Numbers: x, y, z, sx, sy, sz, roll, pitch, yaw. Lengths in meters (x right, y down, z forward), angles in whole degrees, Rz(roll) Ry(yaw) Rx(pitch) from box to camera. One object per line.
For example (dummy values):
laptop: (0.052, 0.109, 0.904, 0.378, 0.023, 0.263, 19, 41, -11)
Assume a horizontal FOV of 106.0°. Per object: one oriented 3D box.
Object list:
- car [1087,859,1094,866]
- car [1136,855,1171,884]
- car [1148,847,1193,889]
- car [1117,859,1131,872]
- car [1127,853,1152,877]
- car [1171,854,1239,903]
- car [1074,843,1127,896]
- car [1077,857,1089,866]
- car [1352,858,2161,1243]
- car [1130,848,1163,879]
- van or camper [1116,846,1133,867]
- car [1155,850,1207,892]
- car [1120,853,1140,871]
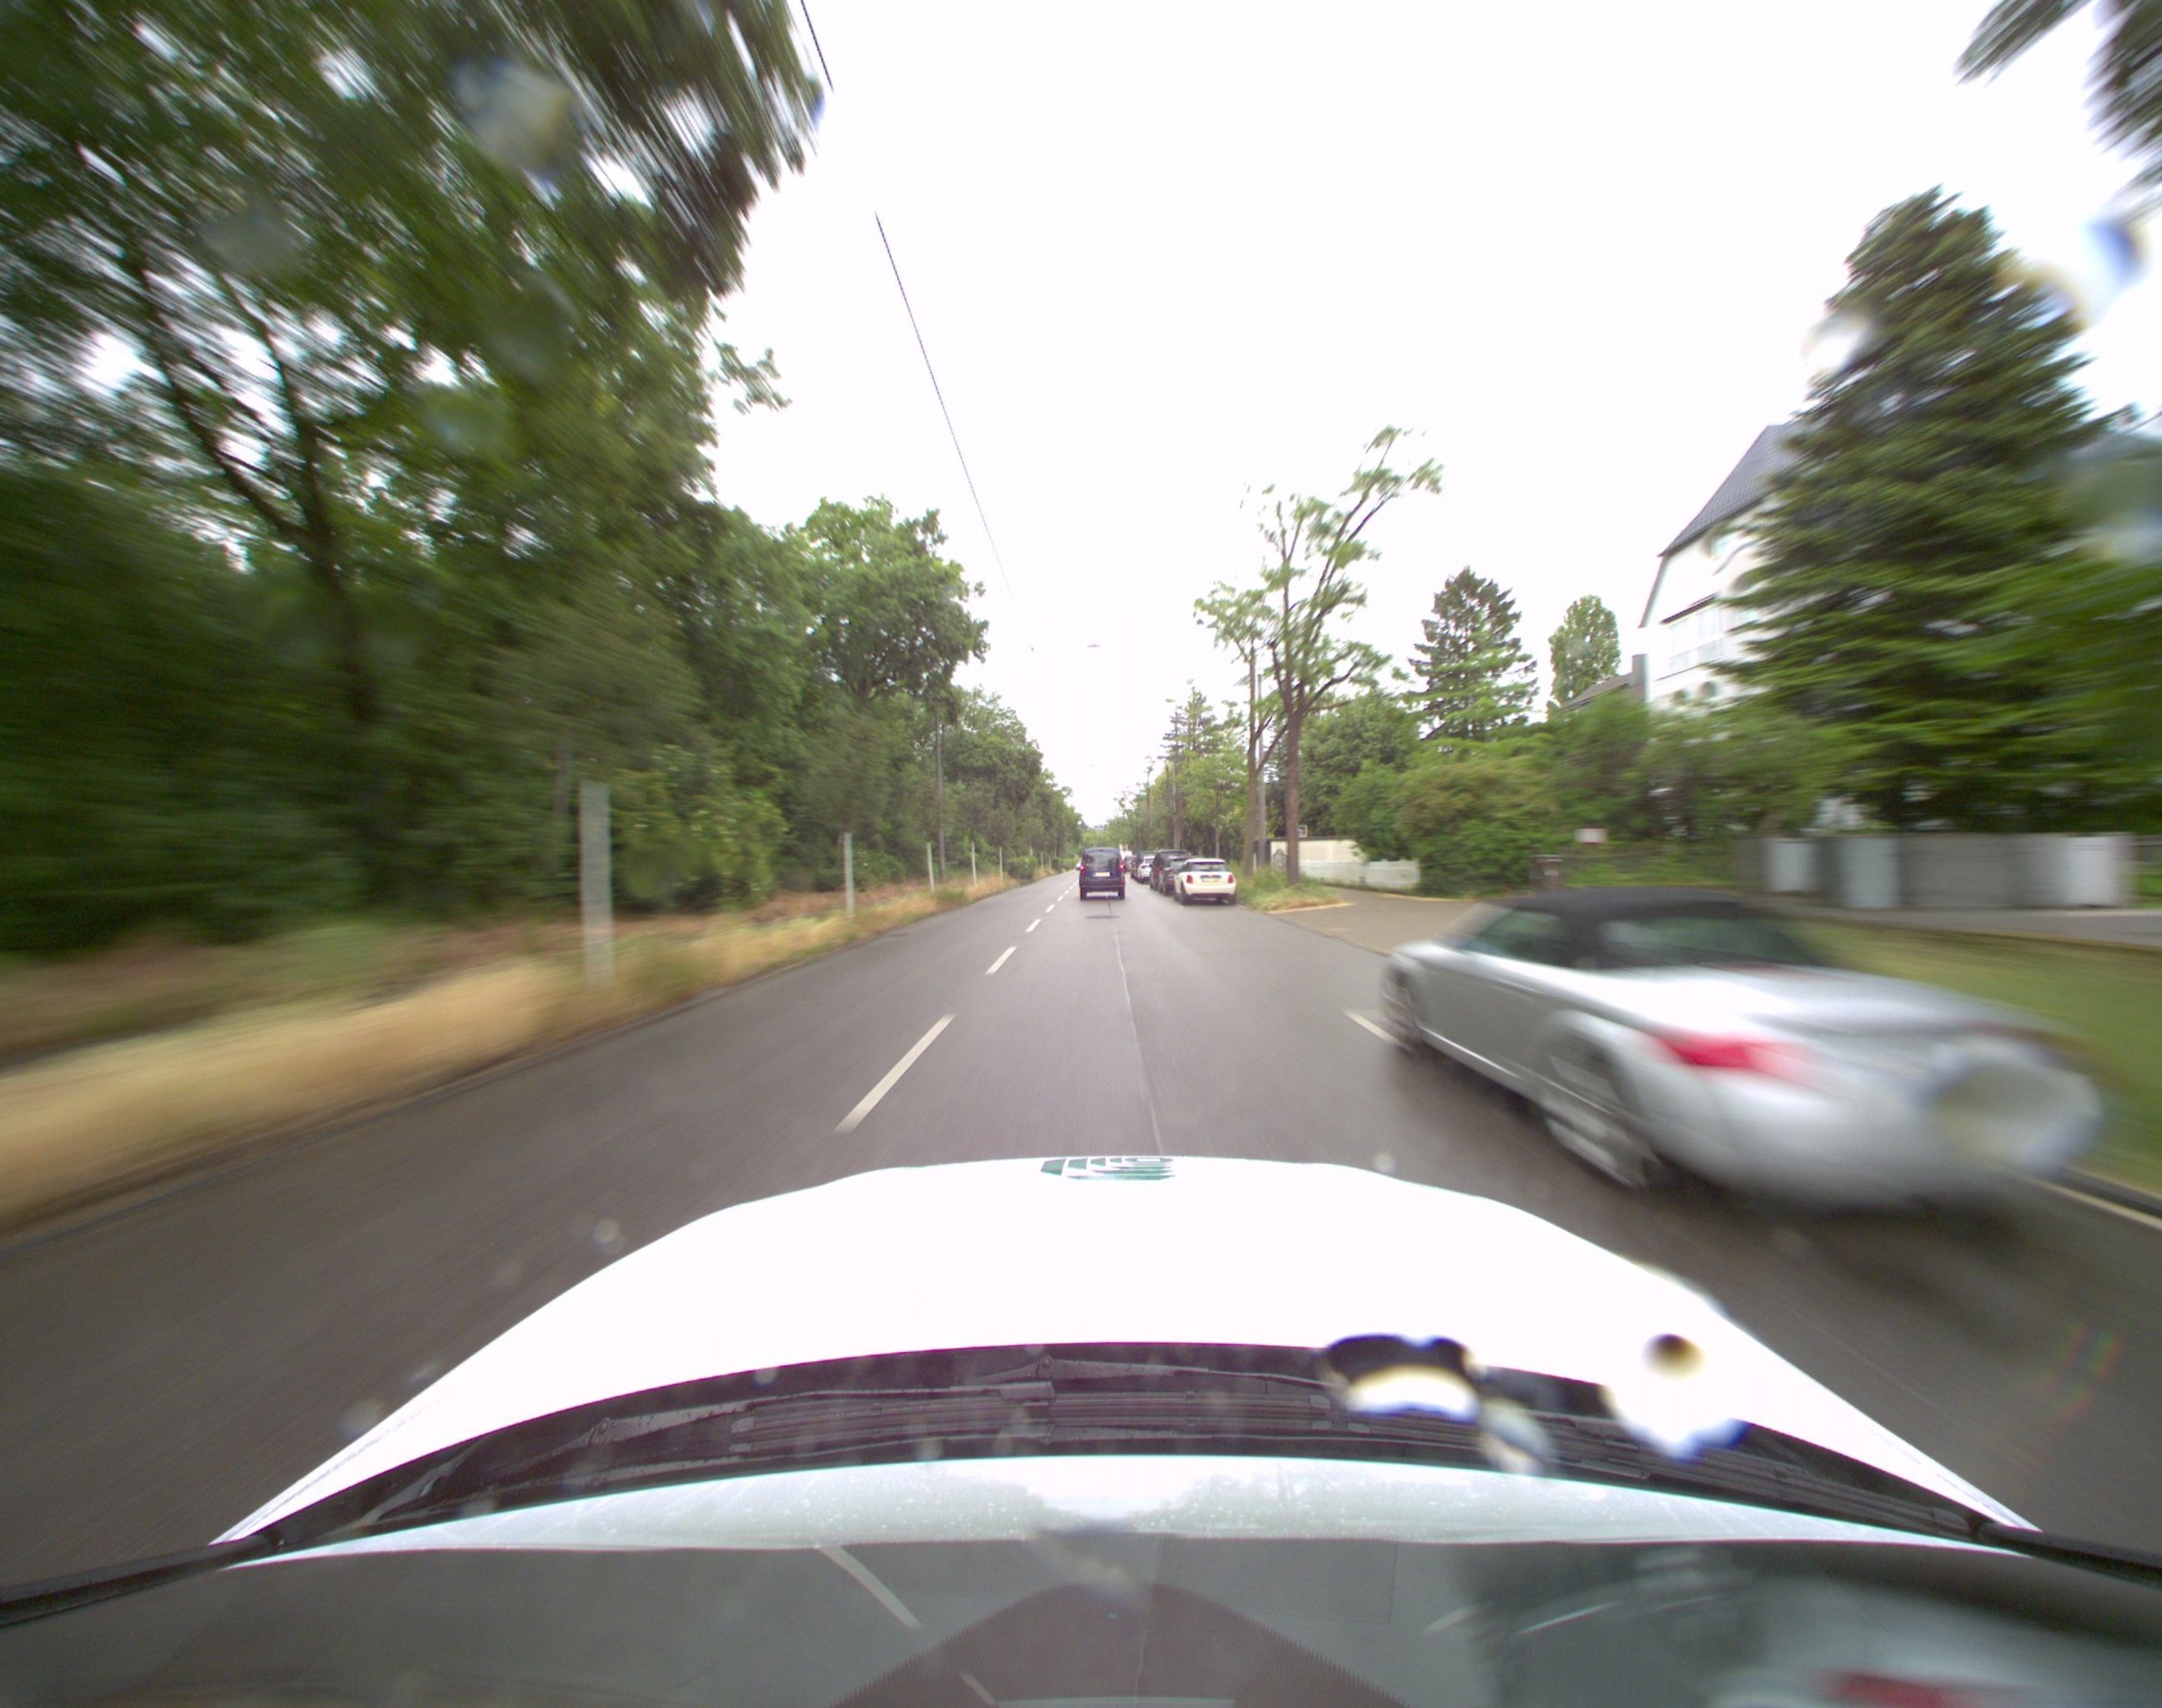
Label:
car: (2.269, 2.042, 195.065, 1.777, 1.479, 3.968, -2, -2, 1)
car: (4.266, 0.902, 48.406, 1.798, 1.613, 4.287, 0, 0, 1)
car: (4.099, 0.587, 37.843, 1.724, 1.847, 4.231, 0, 0, 1)
car: (5.203, 1.356, 97.994, 1.618, 1.464, 3.812, 0, 0, 4)
car: (4.374, 0.778, 61.385, 1.767, 1.723, 4.328, 0, 0, 2)
car: (3.988, 0.754, 26.697, 1.731, 1.464, 3.726, 0, 0, 1)
car: (0.665, 0.526, 29.786, 1.762, 1.830, 3.540, 0, 0, -2)
car: (0.337, 1.229, 140.978, 1.853, 1.480, 4.158, -2, -1, 2)
car: (3.224, 0.742, 5.048, 1.776, 1.395, 4.000, 0, 0, 0)
car: (4.347, 0.602, 54.865, 1.986, 2.013, 4.890, 0, 0, 2)
van or camper: (5.594, 0.344, 105.840, 2.071, 2.650, 5.347, 0, 0, 1)
car: (3.919, 0.638, 32.532, 1.672, 1.555, 4.077, 0, 0, 1)
car: (5.101, 0.777, 85.065, 1.809, 1.813, 4.282, 0, 0, 0)
